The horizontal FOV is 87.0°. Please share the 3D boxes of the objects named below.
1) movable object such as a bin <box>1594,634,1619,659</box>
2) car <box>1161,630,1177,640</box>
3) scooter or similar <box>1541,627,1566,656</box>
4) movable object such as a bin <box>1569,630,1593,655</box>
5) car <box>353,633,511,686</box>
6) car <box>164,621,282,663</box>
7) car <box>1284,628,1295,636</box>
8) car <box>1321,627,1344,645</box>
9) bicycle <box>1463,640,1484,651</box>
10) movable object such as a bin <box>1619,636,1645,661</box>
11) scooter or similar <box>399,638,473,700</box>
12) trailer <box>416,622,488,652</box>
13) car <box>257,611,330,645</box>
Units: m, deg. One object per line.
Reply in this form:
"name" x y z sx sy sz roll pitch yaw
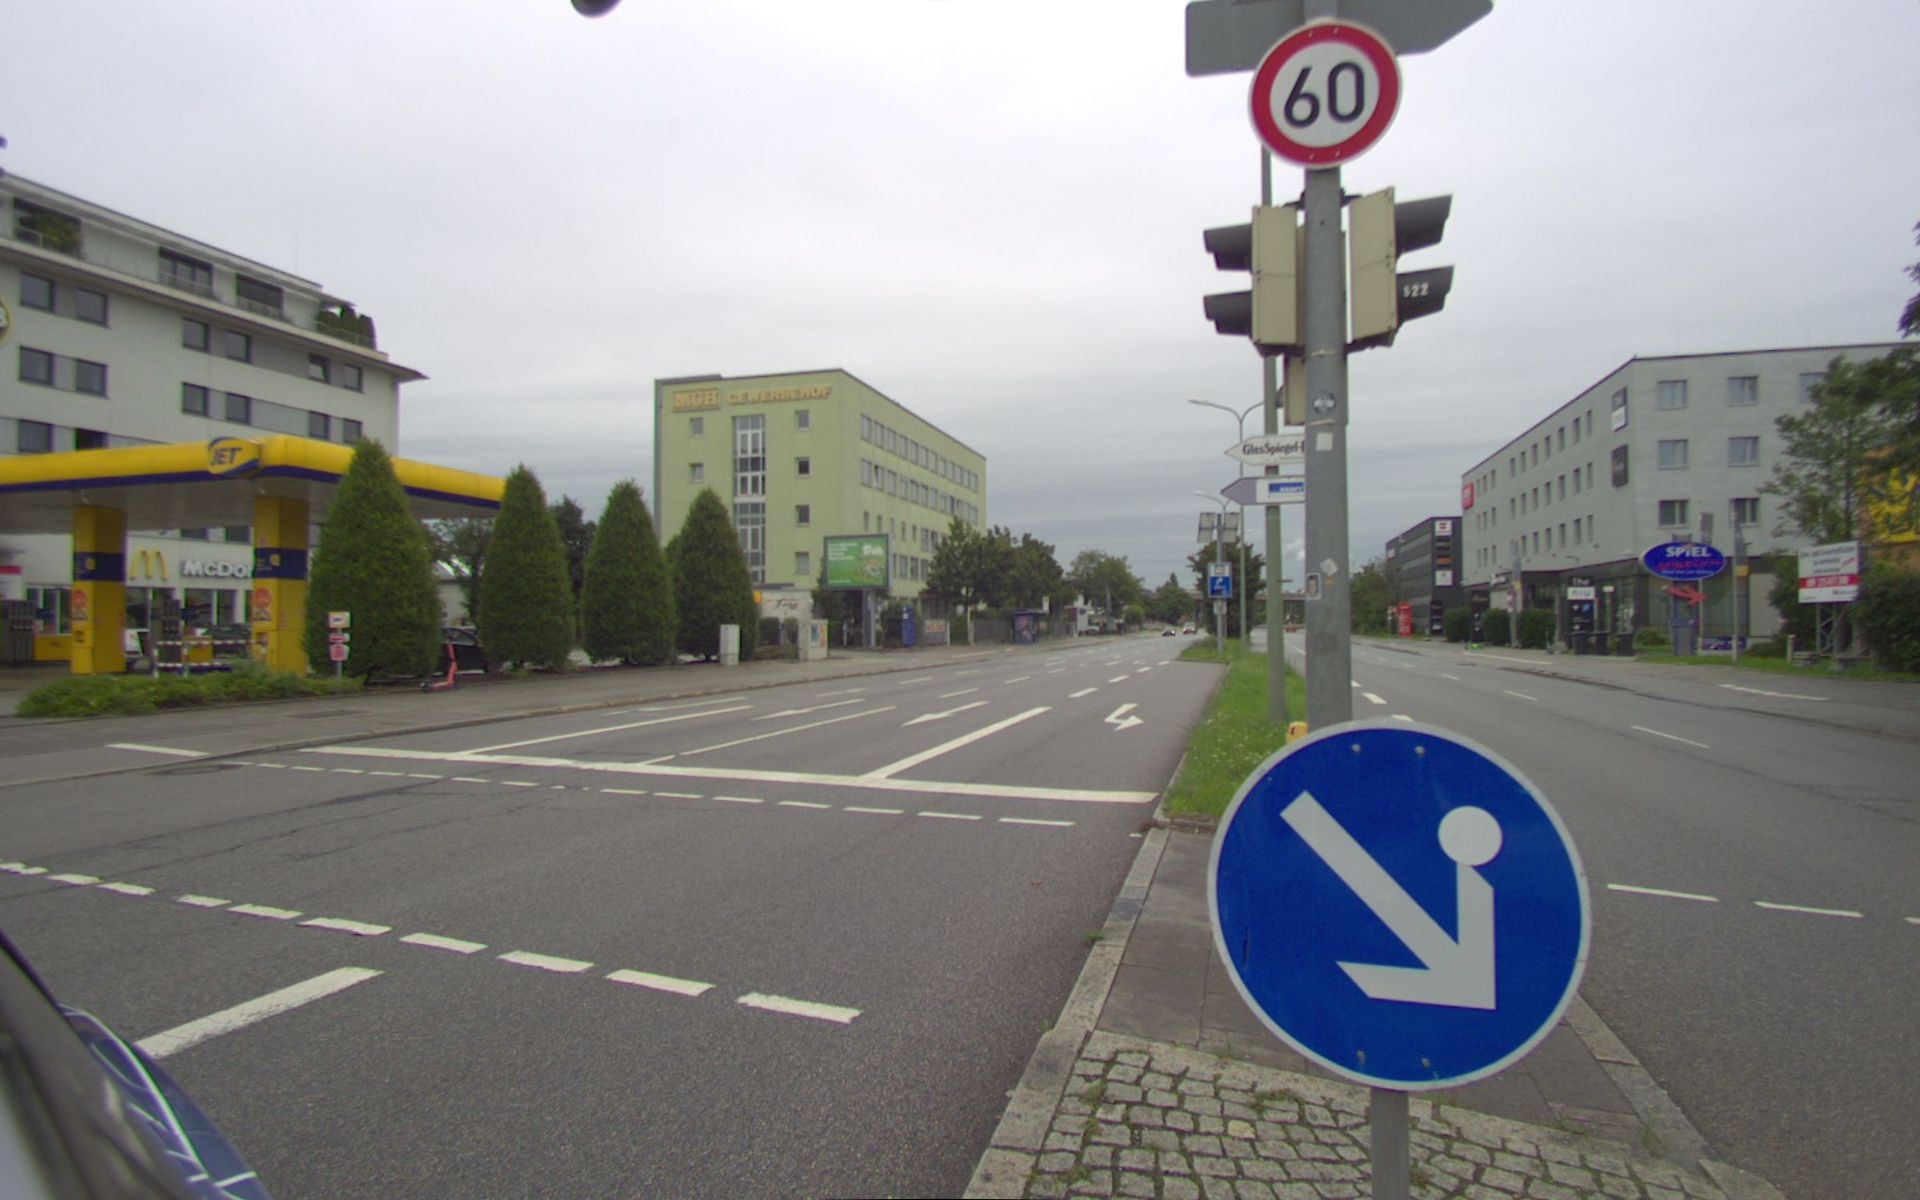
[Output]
"movable object such as a bin" 28.458 2.047 44.539 0.733 1.086 0.651 -2 -2 17
"car" 31.144 5.227 150.615 1.981 1.412 4.631 -2 -2 15
"scooter or similar" 27.779 1.943 47.379 0.582 1.287 1.396 -6 -3 16
"movable object such as a bin" 27.809 1.910 45.311 0.733 1.086 0.651 -2 -2 17
"car" -14.803 1.632 28.632 1.783 1.342 3.980 -2 -2 15
"car" -29.441 1.664 40.451 3.963 1.599 1.698 -1 -2 15
"car" 62.342 6.000 191.366 1.726 1.560 4.281 0 -1 16
"car" 34.291 3.300 93.145 1.805 1.569 4.003 0 -1 18
"bicycle" 29.491 2.608 58.097 0.715 0.553 1.723 -4 -3 16
"movable object such as a bin" 29.357 2.121 44.213 0.733 1.086 0.651 -2 -2 17
"scooter or similar" -11.242 1.466 21.747 0.354 1.252 1.534 2 -1 21
"trailer" -30.197 2.201 60.185 3.775 1.663 1.627 -2 -2 16
"car" -41.361 1.729 62.811 3.969 1.957 1.711 -2 -2 19
